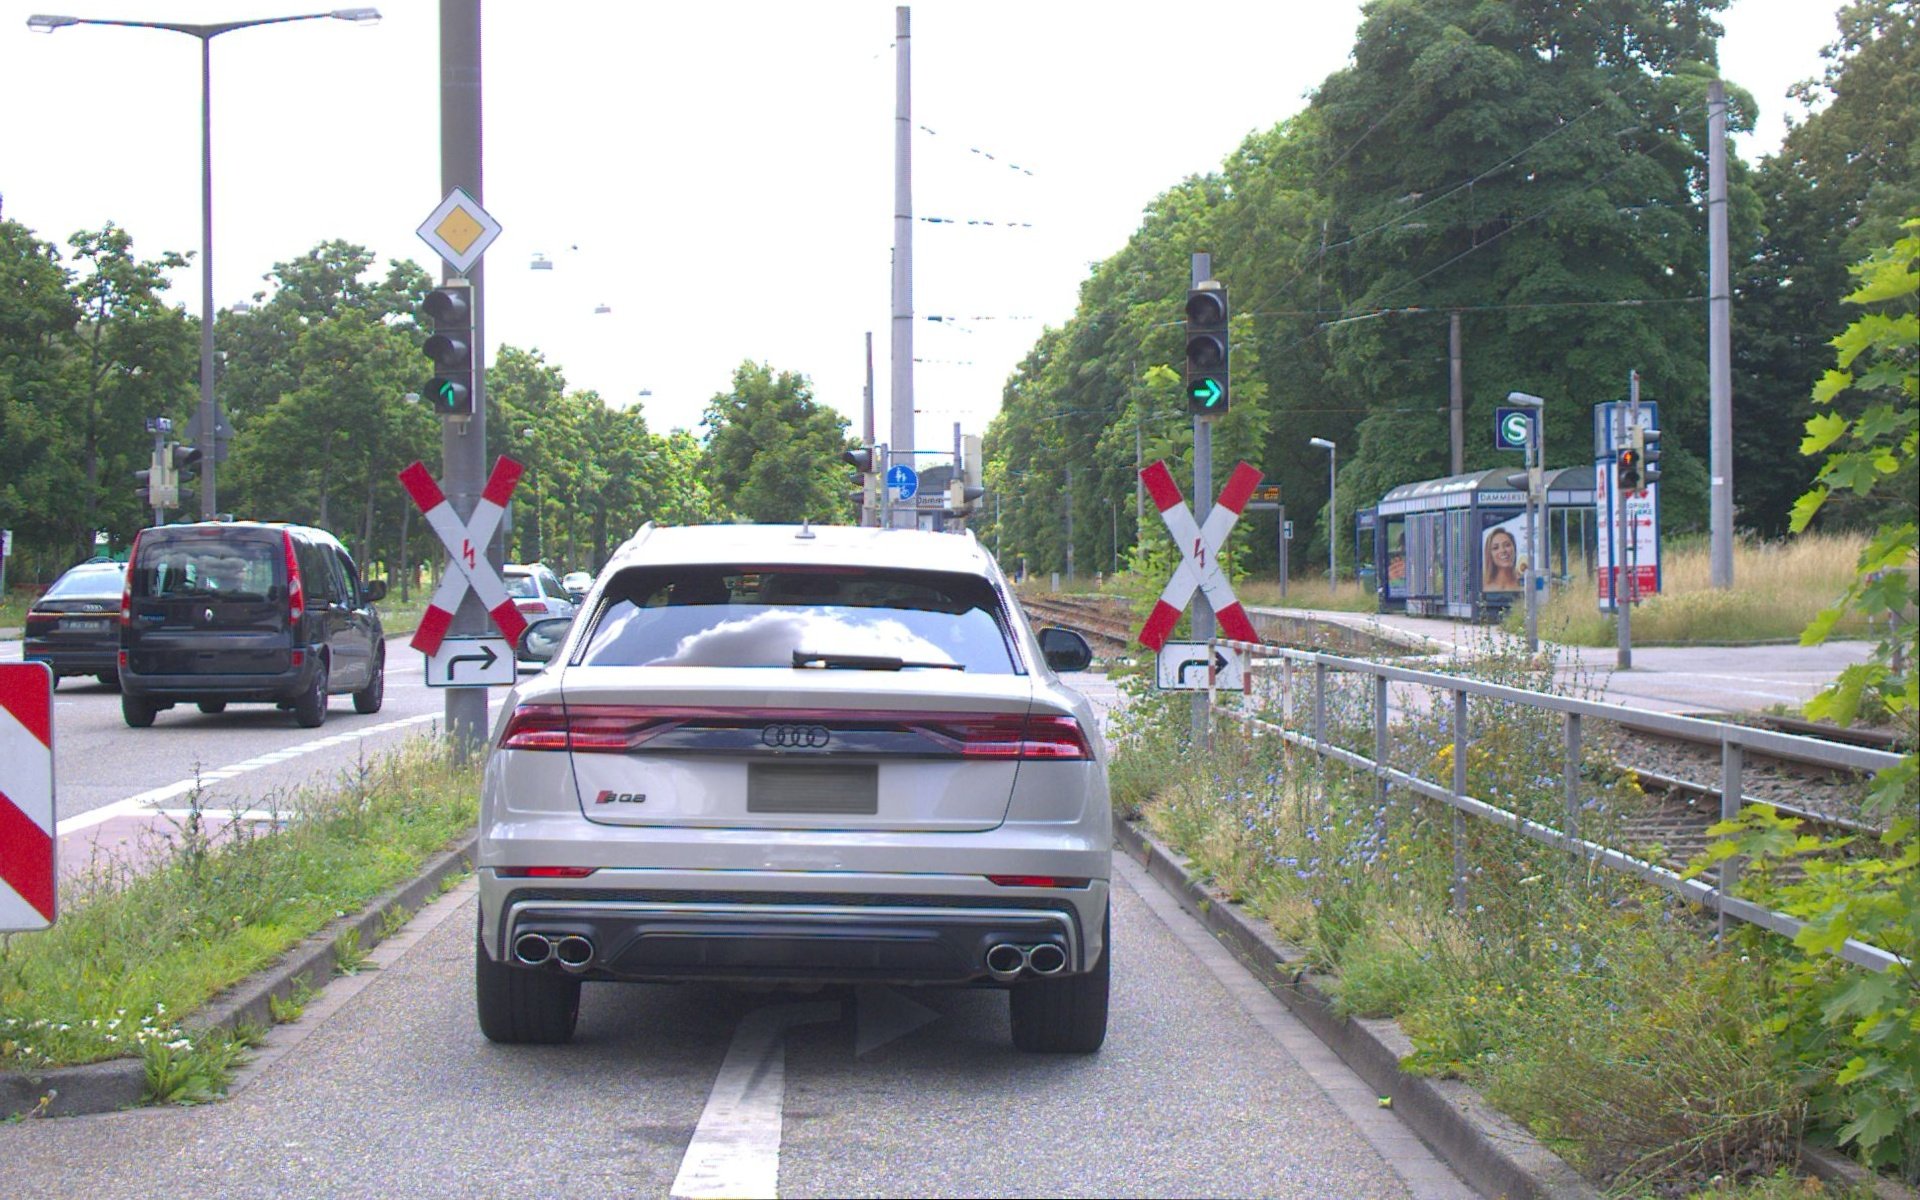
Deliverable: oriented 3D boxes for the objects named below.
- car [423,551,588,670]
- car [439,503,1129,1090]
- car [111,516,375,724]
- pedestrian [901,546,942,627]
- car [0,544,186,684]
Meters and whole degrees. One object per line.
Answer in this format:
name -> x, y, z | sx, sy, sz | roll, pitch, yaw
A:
car -> -6.137, 0.122, 46.808 | 1.785, 1.520, 4.301 | 1, 0, -2
car -> -0.535, 0.558, 12.271 | 1.981, 1.678, 4.574 | 1, 0, -1
car -> -6.535, 0.161, 31.695 | 1.759, 1.771, 3.909 | 1, 0, -3
pedestrian -> -0.723, -0.264, 64.541 | 0.653, 1.508, 0.718 | -1, 1, -10
car -> -10.125, 0.133, 39.282 | 1.864, 1.499, 4.000 | 1, 0, -3
